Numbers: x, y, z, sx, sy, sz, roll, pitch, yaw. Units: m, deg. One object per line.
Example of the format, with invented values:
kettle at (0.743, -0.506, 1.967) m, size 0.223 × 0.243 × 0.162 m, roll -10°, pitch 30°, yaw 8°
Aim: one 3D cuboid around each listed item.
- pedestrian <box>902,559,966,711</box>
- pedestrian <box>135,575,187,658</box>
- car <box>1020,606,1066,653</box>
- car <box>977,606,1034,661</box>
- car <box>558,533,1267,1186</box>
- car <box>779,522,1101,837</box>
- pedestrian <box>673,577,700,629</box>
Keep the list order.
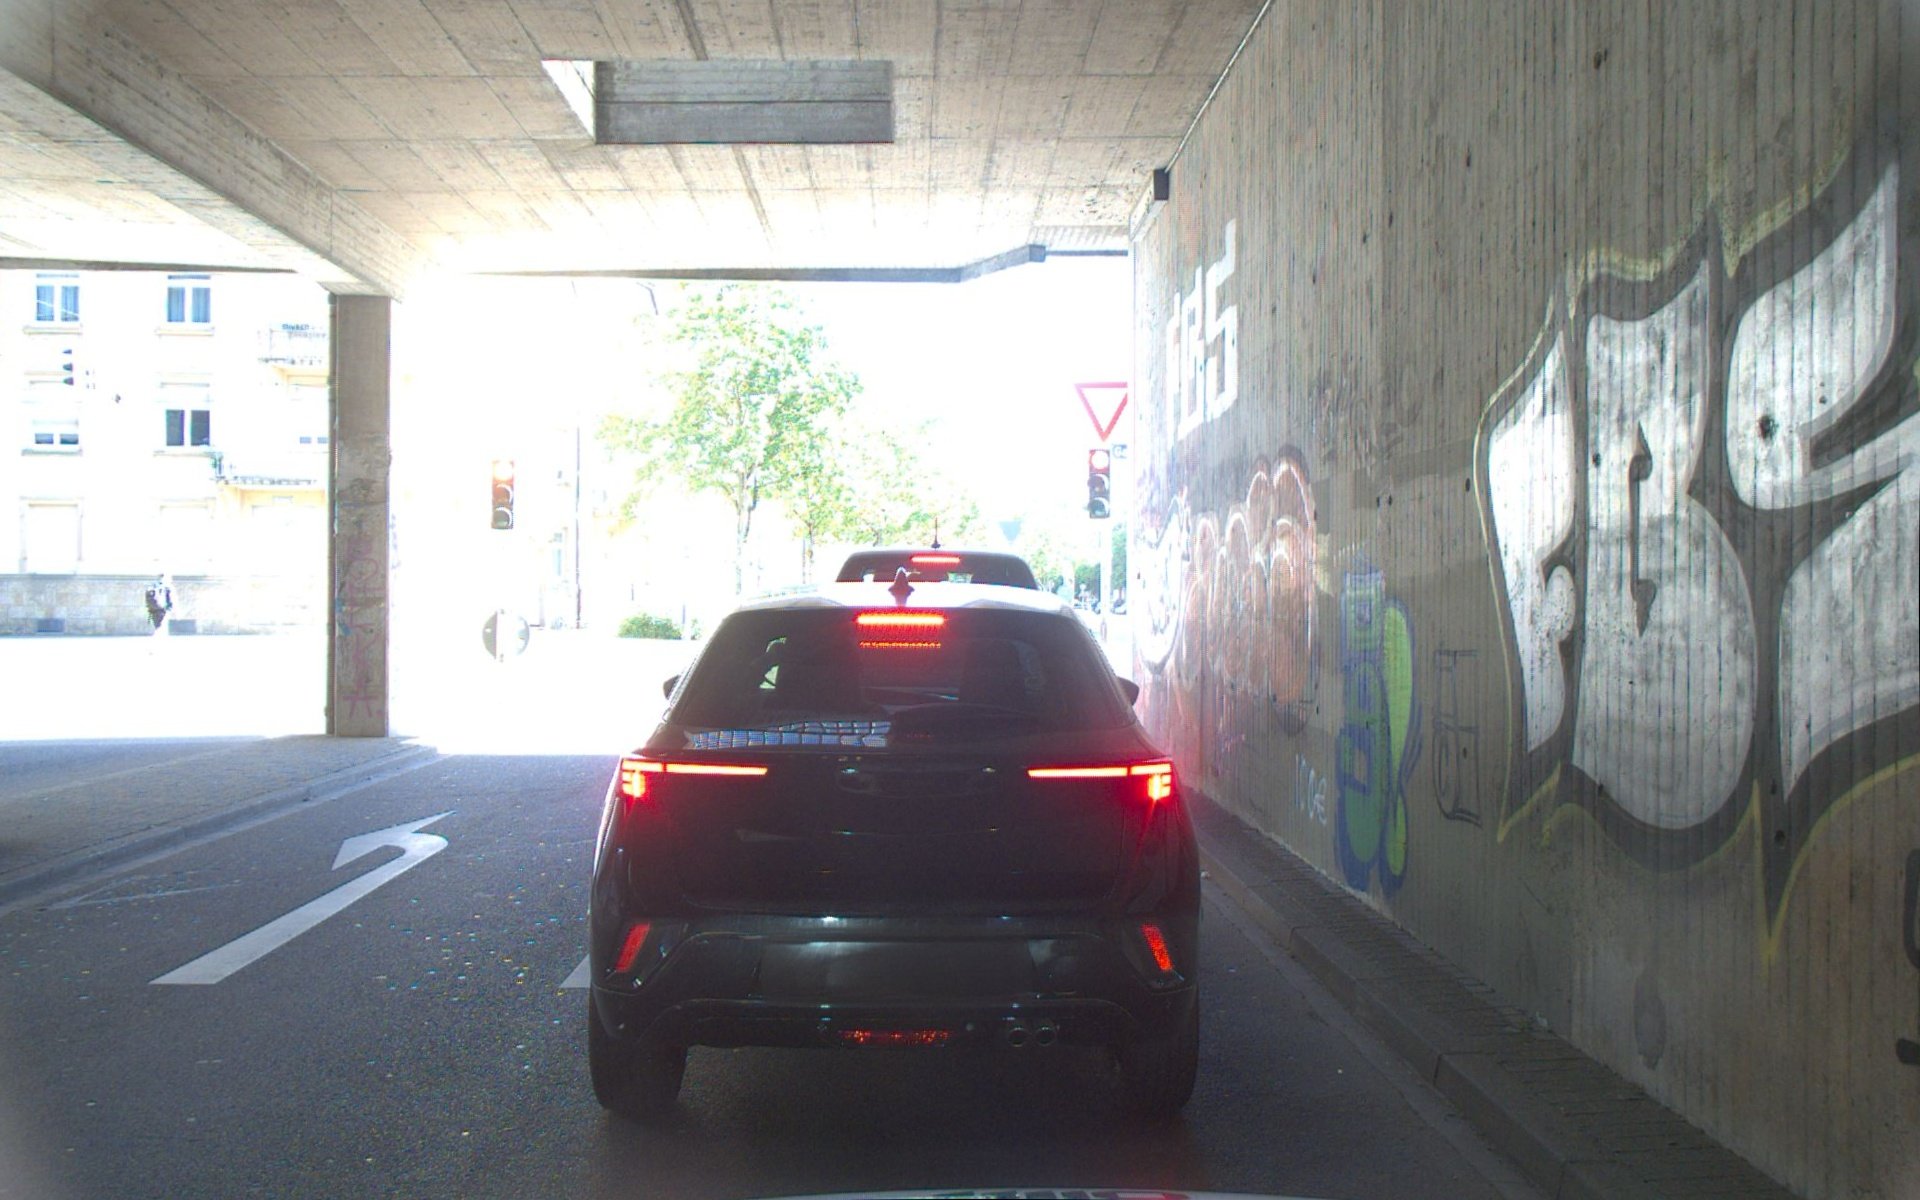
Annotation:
pedestrian at (-0.309, 0.411, 19.819) m, size 0.716 × 1.764 × 0.874 m, roll 1°, pitch -1°, yaw -1°
pedestrian at (-16.201, 0.331, 33.550) m, size 0.658 × 1.666 × 0.740 m, roll 1°, pitch -1°, yaw -1°
car at (3.773, 1.303, 74.849) m, size 1.951 × 2.004 × 4.166 m, roll 1°, pitch 0°, yaw 4°
car at (1.783, 1.254, 63.370) m, size 1.951 × 2.004 × 4.166 m, roll 1°, pitch 0°, yaw 4°
car at (-0.143, 0.602, 6.092) m, size 1.729 × 1.598 × 4.000 m, roll 1°, pitch 1°, yaw -1°
car at (-0.148, 0.469, 12.053) m, size 1.953 × 1.904 × 3.999 m, roll 0°, pitch 0°, yaw -1°
pedestrian at (-11.429, 0.124, 69.076) m, size 0.873 × 2.124 × 0.808 m, roll 1°, pitch -1°, yaw 7°
